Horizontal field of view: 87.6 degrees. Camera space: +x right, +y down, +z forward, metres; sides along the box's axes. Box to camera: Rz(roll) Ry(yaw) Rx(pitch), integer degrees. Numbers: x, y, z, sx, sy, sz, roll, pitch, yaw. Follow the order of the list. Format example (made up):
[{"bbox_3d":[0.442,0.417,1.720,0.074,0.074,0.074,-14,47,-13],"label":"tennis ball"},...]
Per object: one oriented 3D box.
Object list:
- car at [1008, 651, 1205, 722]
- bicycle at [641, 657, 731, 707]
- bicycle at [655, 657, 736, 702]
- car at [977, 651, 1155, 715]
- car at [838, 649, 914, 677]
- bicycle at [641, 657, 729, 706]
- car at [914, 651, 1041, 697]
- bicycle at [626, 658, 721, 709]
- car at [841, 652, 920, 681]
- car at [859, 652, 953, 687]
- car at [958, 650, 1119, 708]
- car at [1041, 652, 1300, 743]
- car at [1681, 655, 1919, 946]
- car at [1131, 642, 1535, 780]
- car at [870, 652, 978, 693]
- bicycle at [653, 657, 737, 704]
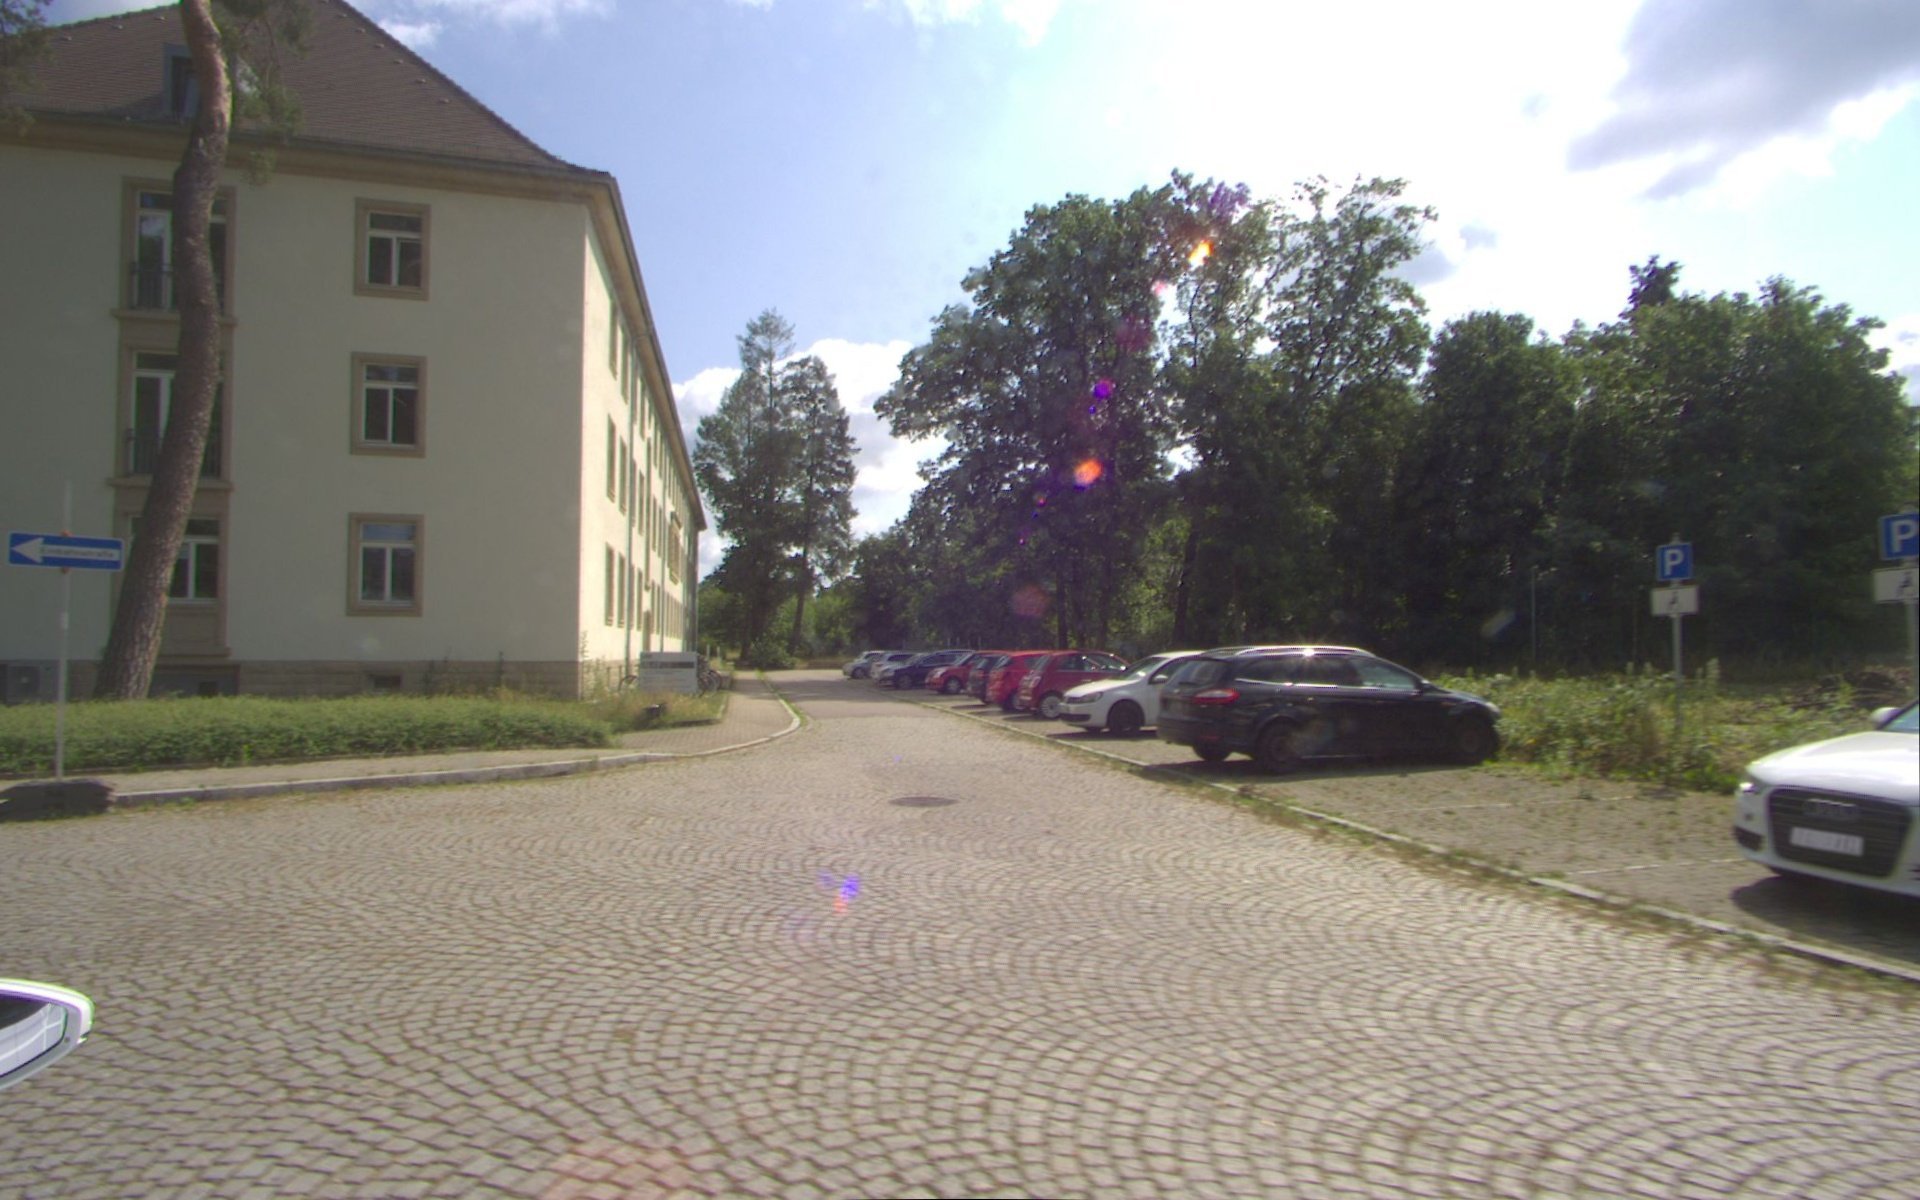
[{"bbox_3d":[3.346,1.965,23.208,4.142,1.502,1.820,0,-3,-11],"label":"car"},{"bbox_3d":[-7.109,2.137,26.057,2.188,1.276,0.623,1,-2,-11],"label":"bicycle"},{"bbox_3d":[-7.591,2.291,28.817,2.188,1.276,0.623,1,-2,-11],"label":"bicycle"},{"bbox_3d":[2.634,2.066,25.322,4.122,1.502,1.760,0,-3,-11],"label":"car"},{"bbox_3d":[-4.822,3.587,56.984,4.122,1.502,1.820,0,-3,-11],"label":"car"},{"bbox_3d":[-7.366,2.191,26.917,2.187,1.276,0.623,1,-2,-7],"label":"bicycle"},{"bbox_3d":[0.596,2.605,35.580,4.200,1.502,1.820,0,-3,-11],"label":"car"},{"bbox_3d":[-7.178,2.094,25.177,2.187,1.276,0.623,1,-2,-7],"label":"bicycle"},{"bbox_3d":[-4.346,3.587,54.427,4.122,1.502,1.820,0,-3,-11],"label":"car"},{"bbox_3d":[-2.501,3.171,45.894,4.122,1.502,1.820,0,-3,-11],"label":"car"},{"bbox_3d":[2.135,2.176,27.901,4.122,1.502,1.820,0,-3,-11],"label":"car"},{"bbox_3d":[3.836,1.746,18.478,4.333,1.502,1.765,0,-3,-15],"label":"car"},{"bbox_3d":[7.309,1.109,6.304,4.789,1.491,1.872,0,-2,-15],"label":"car"},{"bbox_3d":[4.877,1.389,13.278,4.780,1.571,1.879,0,-3,-15],"label":"car"},{"bbox_3d":[-1.496,2.915,40.624,4.122,1.562,1.820,0,-3,-11],"label":"car"},{"bbox_3d":[-7.348,2.237,27.839,2.188,1.276,0.623,1,-2,-11],"label":"bicycle"}]
